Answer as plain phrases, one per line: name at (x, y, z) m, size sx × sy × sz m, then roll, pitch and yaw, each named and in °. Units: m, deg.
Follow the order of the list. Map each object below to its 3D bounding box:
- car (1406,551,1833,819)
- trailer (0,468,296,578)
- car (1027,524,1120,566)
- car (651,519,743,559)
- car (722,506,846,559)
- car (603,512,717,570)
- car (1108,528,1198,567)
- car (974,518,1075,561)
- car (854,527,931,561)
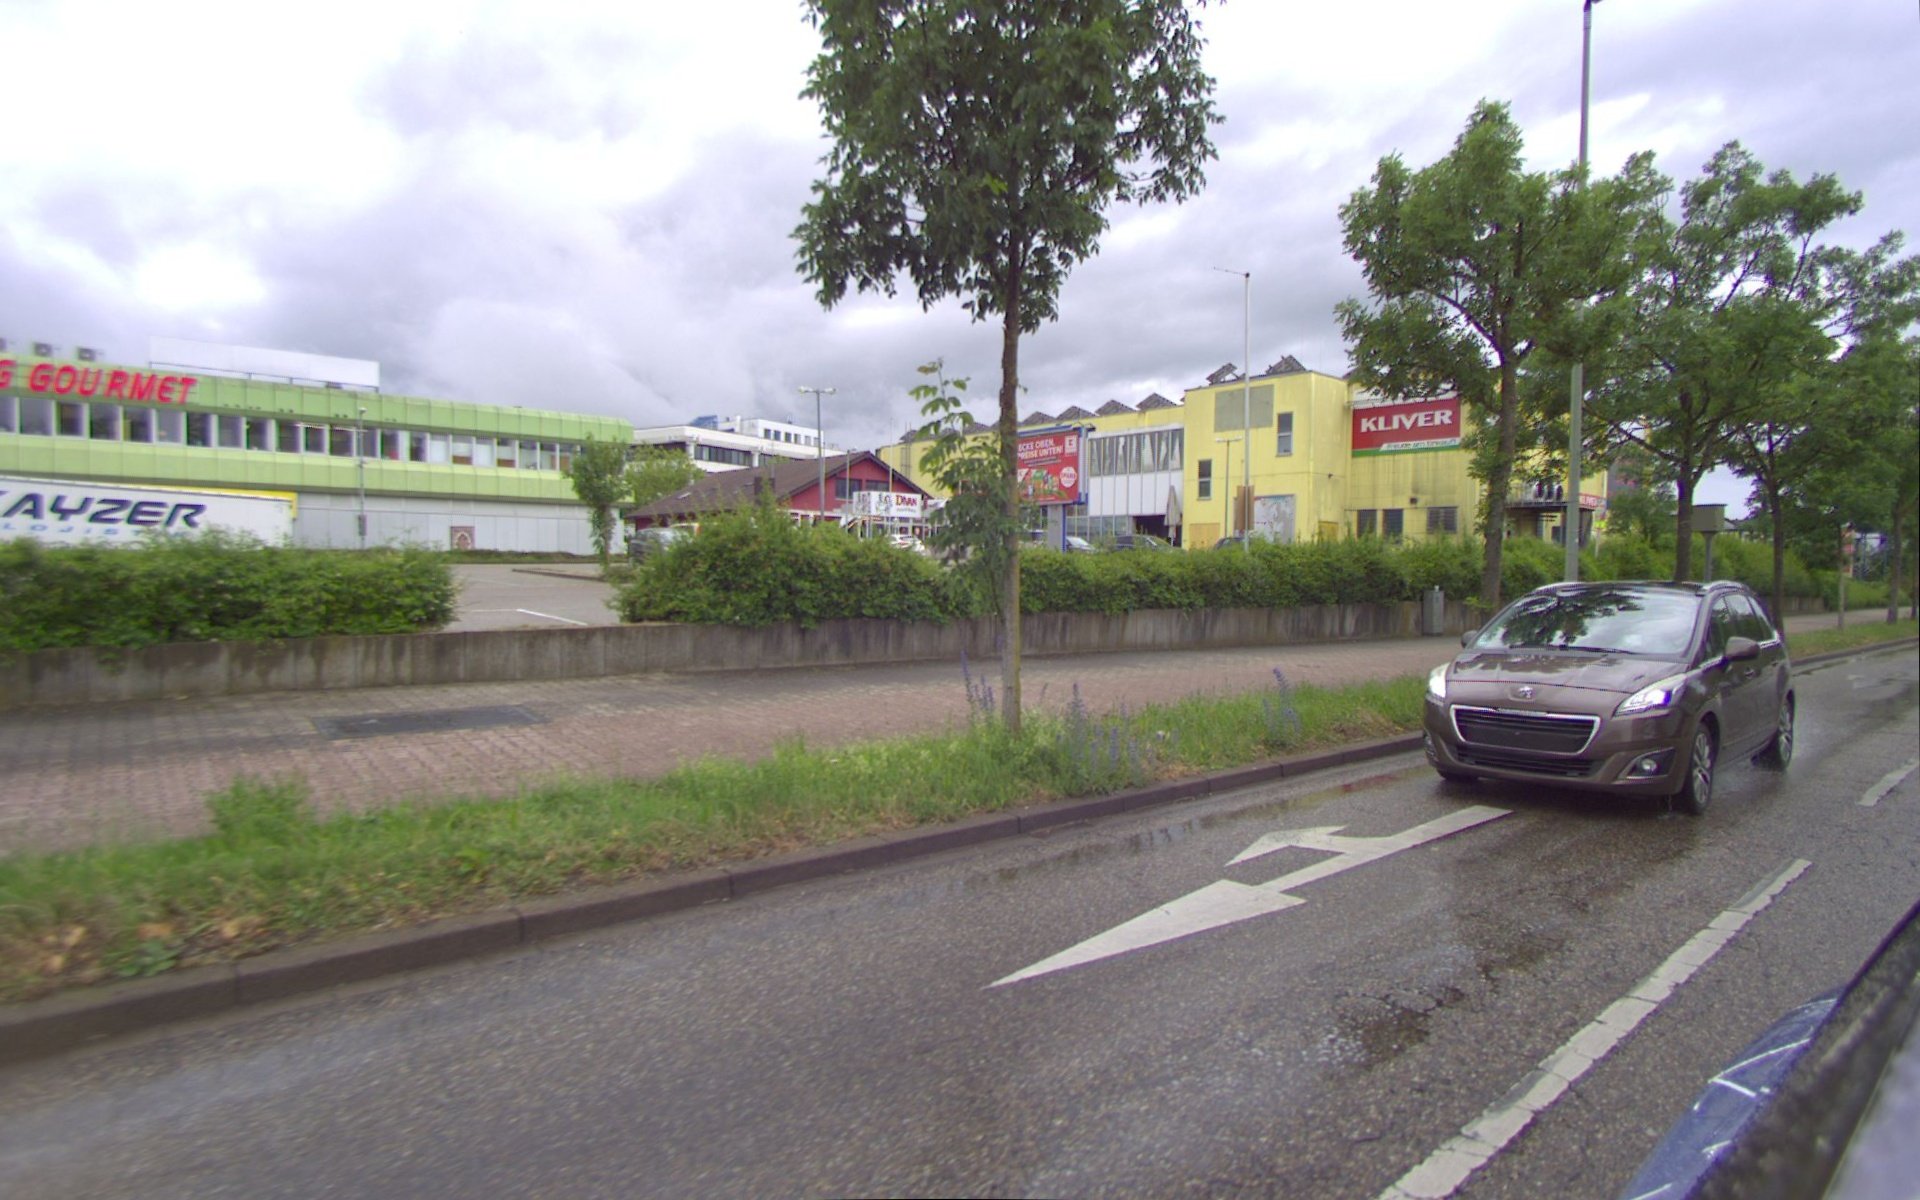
car at (5.567, 0.519, 8.303) m, size 4.392 × 1.645 × 1.729 m, roll -1°, pitch -1°, yaw -40°
trailer at (-34.930, -2.954, 39.700) m, size 14.548 × 3.763 × 3.158 m, roll 1°, pitch -1°, yaw -40°
car at (5.220, -2.533, 46.853) m, size 1.965 × 1.801 × 3.994 m, roll 0°, pitch 2°, yaw -41°
car at (-12.757, -2.921, 48.909) m, size 2.340 × 1.801 × 4.977 m, roll 0°, pitch 2°, yaw -41°
car at (-6.698, -2.492, 38.148) m, size 2.340 × 1.801 × 4.977 m, roll 0°, pitch 2°, yaw -41°
car at (-10.275, -1.989, 34.466) m, size 1.965 × 1.801 × 4.574 m, roll 0°, pitch 2°, yaw -41°
car at (9.477, -2.573, 49.972) m, size 1.965 × 1.801 × 3.994 m, roll 0°, pitch 2°, yaw -41°
car at (2.813, -2.646, 44.898) m, size 1.965 × 1.760 × 4.378 m, roll 0°, pitch 2°, yaw -41°
car at (-3.749, -3.075, 55.710) m, size 1.965 × 1.760 × 4.379 m, roll 0°, pitch 2°, yaw -41°
